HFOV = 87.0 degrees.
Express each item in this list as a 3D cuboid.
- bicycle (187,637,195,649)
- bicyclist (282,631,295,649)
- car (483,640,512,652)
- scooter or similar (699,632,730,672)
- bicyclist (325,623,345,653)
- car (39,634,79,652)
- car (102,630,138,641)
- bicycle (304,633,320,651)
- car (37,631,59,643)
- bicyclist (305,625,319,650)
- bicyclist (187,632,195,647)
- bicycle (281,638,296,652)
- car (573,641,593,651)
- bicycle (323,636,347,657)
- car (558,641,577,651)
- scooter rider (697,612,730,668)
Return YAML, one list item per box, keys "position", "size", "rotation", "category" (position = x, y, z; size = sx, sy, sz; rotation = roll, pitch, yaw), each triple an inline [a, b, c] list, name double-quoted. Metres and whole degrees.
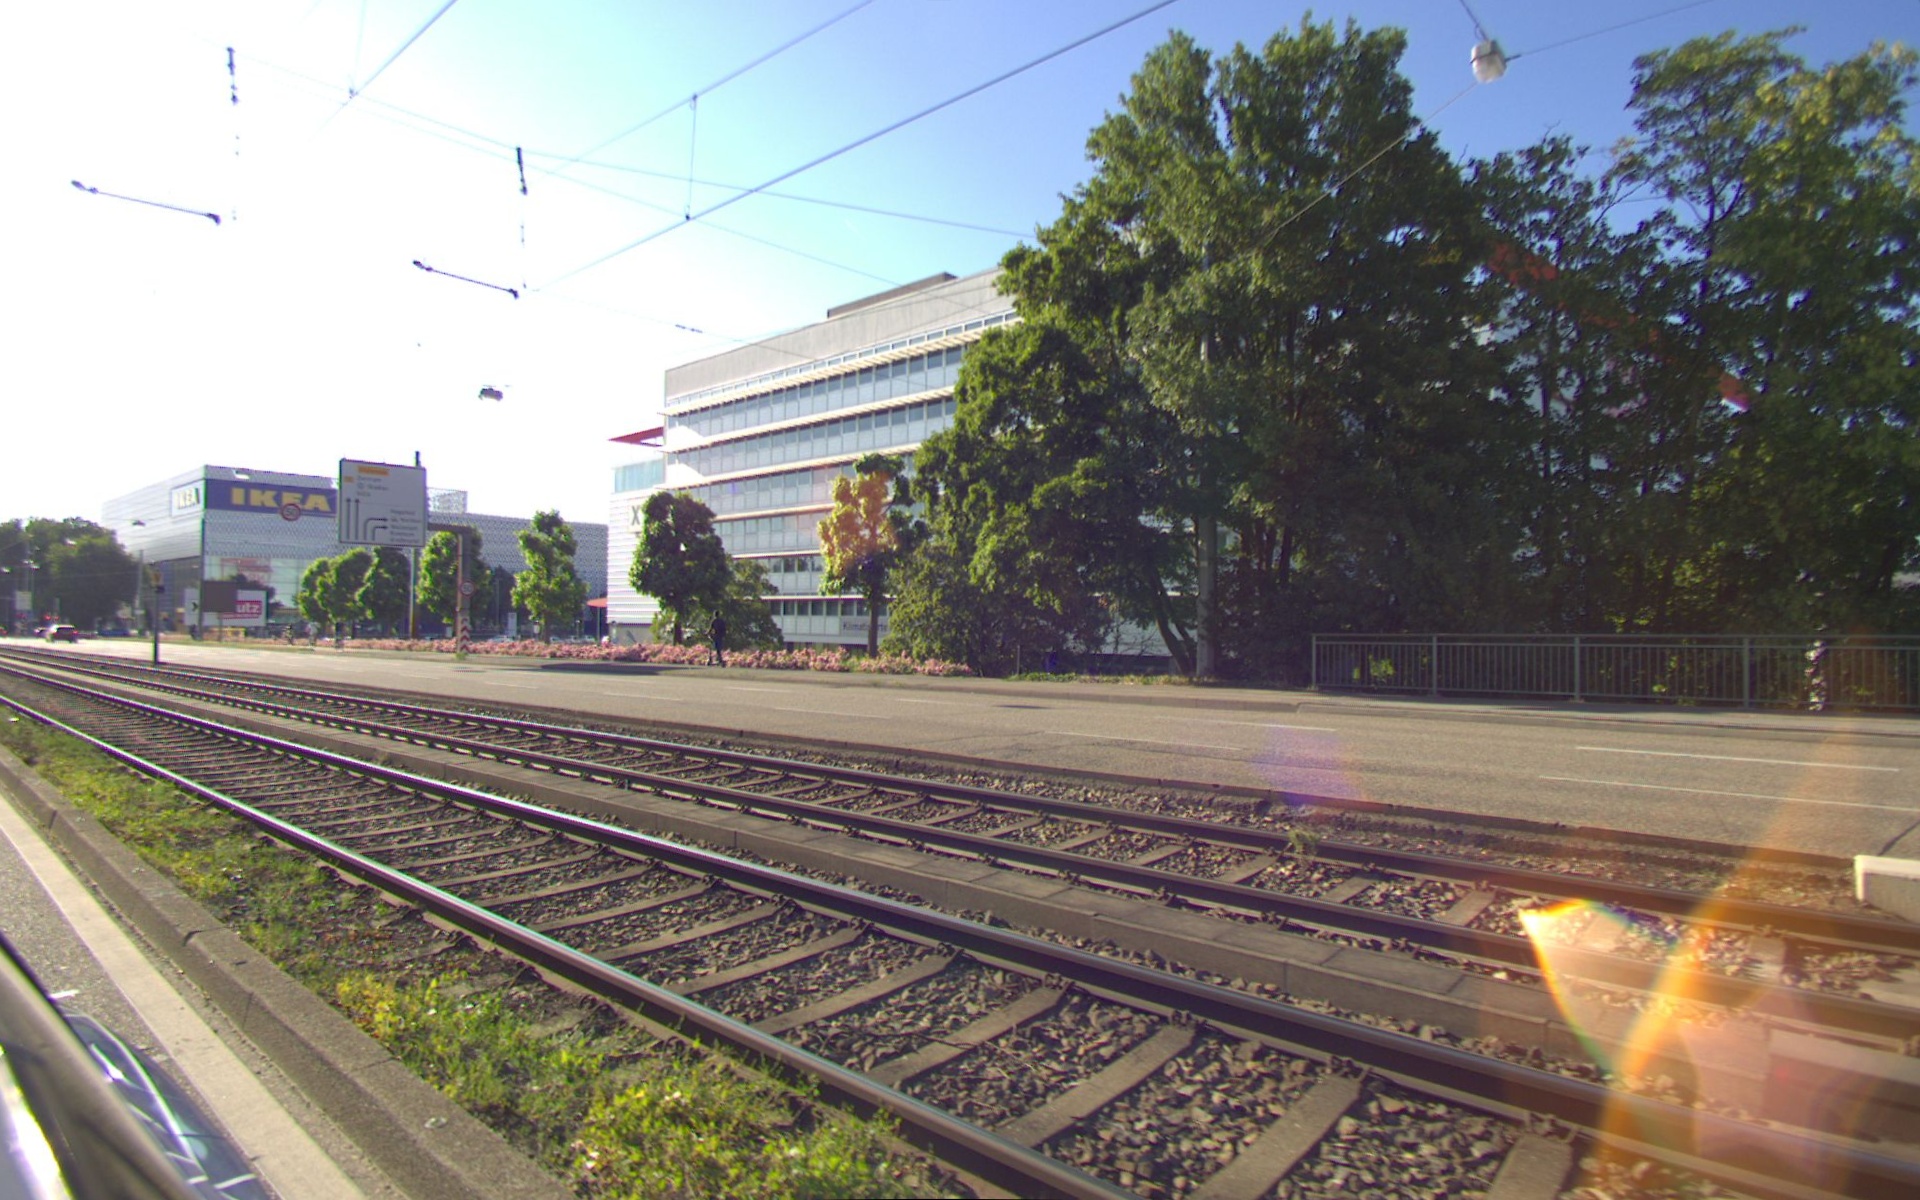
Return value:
- position: [-82.828, 4.620, 108.992]
  size: [0.653, 1.159, 2.025]
  rotation: [-2, 0, -40]
  category: "bicycle"
- position: [-52.262, 3.135, 78.742]
  size: [0.880, 1.384, 0.617]
  rotation: [-2, -3, 45]
  category: "bicyclist"
- position: [-79.175, 7.857, 173.317]
  size: [4.187, 1.813, 1.819]
  rotation: [-2, 0, 13]
  category: "car"
- position: [-8.315, 1.755, 34.220]
  size: [0.466, 1.306, 1.263]
  rotation: [2, -2, -43]
  category: "scooter or similar"
- position: [-33.411, 2.024, 54.063]
  size: [0.696, 1.524, 0.971]
  rotation: [-2, 0, -42]
  category: "bicyclist"
- position: [-79.335, 3.806, 89.114]
  size: [4.885, 1.515, 2.018]
  rotation: [-1, -2, 41]
  category: "car"
- position: [-132.473, 5.614, 159.561]
  size: [4.194, 1.509, 2.017]
  rotation: [5, -4, -44]
  category: "car"
- position: [-45.029, 2.935, 70.338]
  size: [0.595, 1.228, 1.750]
  rotation: [-2, 0, -43]
  category: "bicycle"
- position: [-118.072, 4.821, 131.021]
  size: [1.911, 1.488, 4.138]
  rotation: [4, -4, -41]
  category: "car"
- position: [-45.032, 2.607, 70.333]
  size: [0.595, 1.671, 0.964]
  rotation: [-2, 0, -43]
  category: "bicyclist"
- position: [-82.944, 4.276, 109.118]
  size: [0.653, 1.635, 0.802]
  rotation: [-2, 0, -40]
  category: "bicyclist"
- position: [-52.243, 3.500, 78.715]
  size: [1.704, 1.067, 0.617]
  rotation: [-2, -3, 45]
  category: "bicycle"
- position: [-68.963, 8.391, 185.038]
  size: [3.999, 1.668, 1.777]
  rotation: [-2, -3, 42]
  category: "car"
- position: [-33.381, 2.460, 54.043]
  size: [0.696, 1.081, 2.029]
  rotation: [-2, 0, -42]
  category: "bicycle"
- position: [-70.992, 8.288, 183.014]
  size: [3.999, 1.668, 1.704]
  rotation: [-2, -3, 42]
  category: "car"
- position: [-8.331, 1.346, 34.236]
  size: [0.674, 1.862, 1.002]
  rotation: [2, -3, -42]
  category: "scooter rider"
